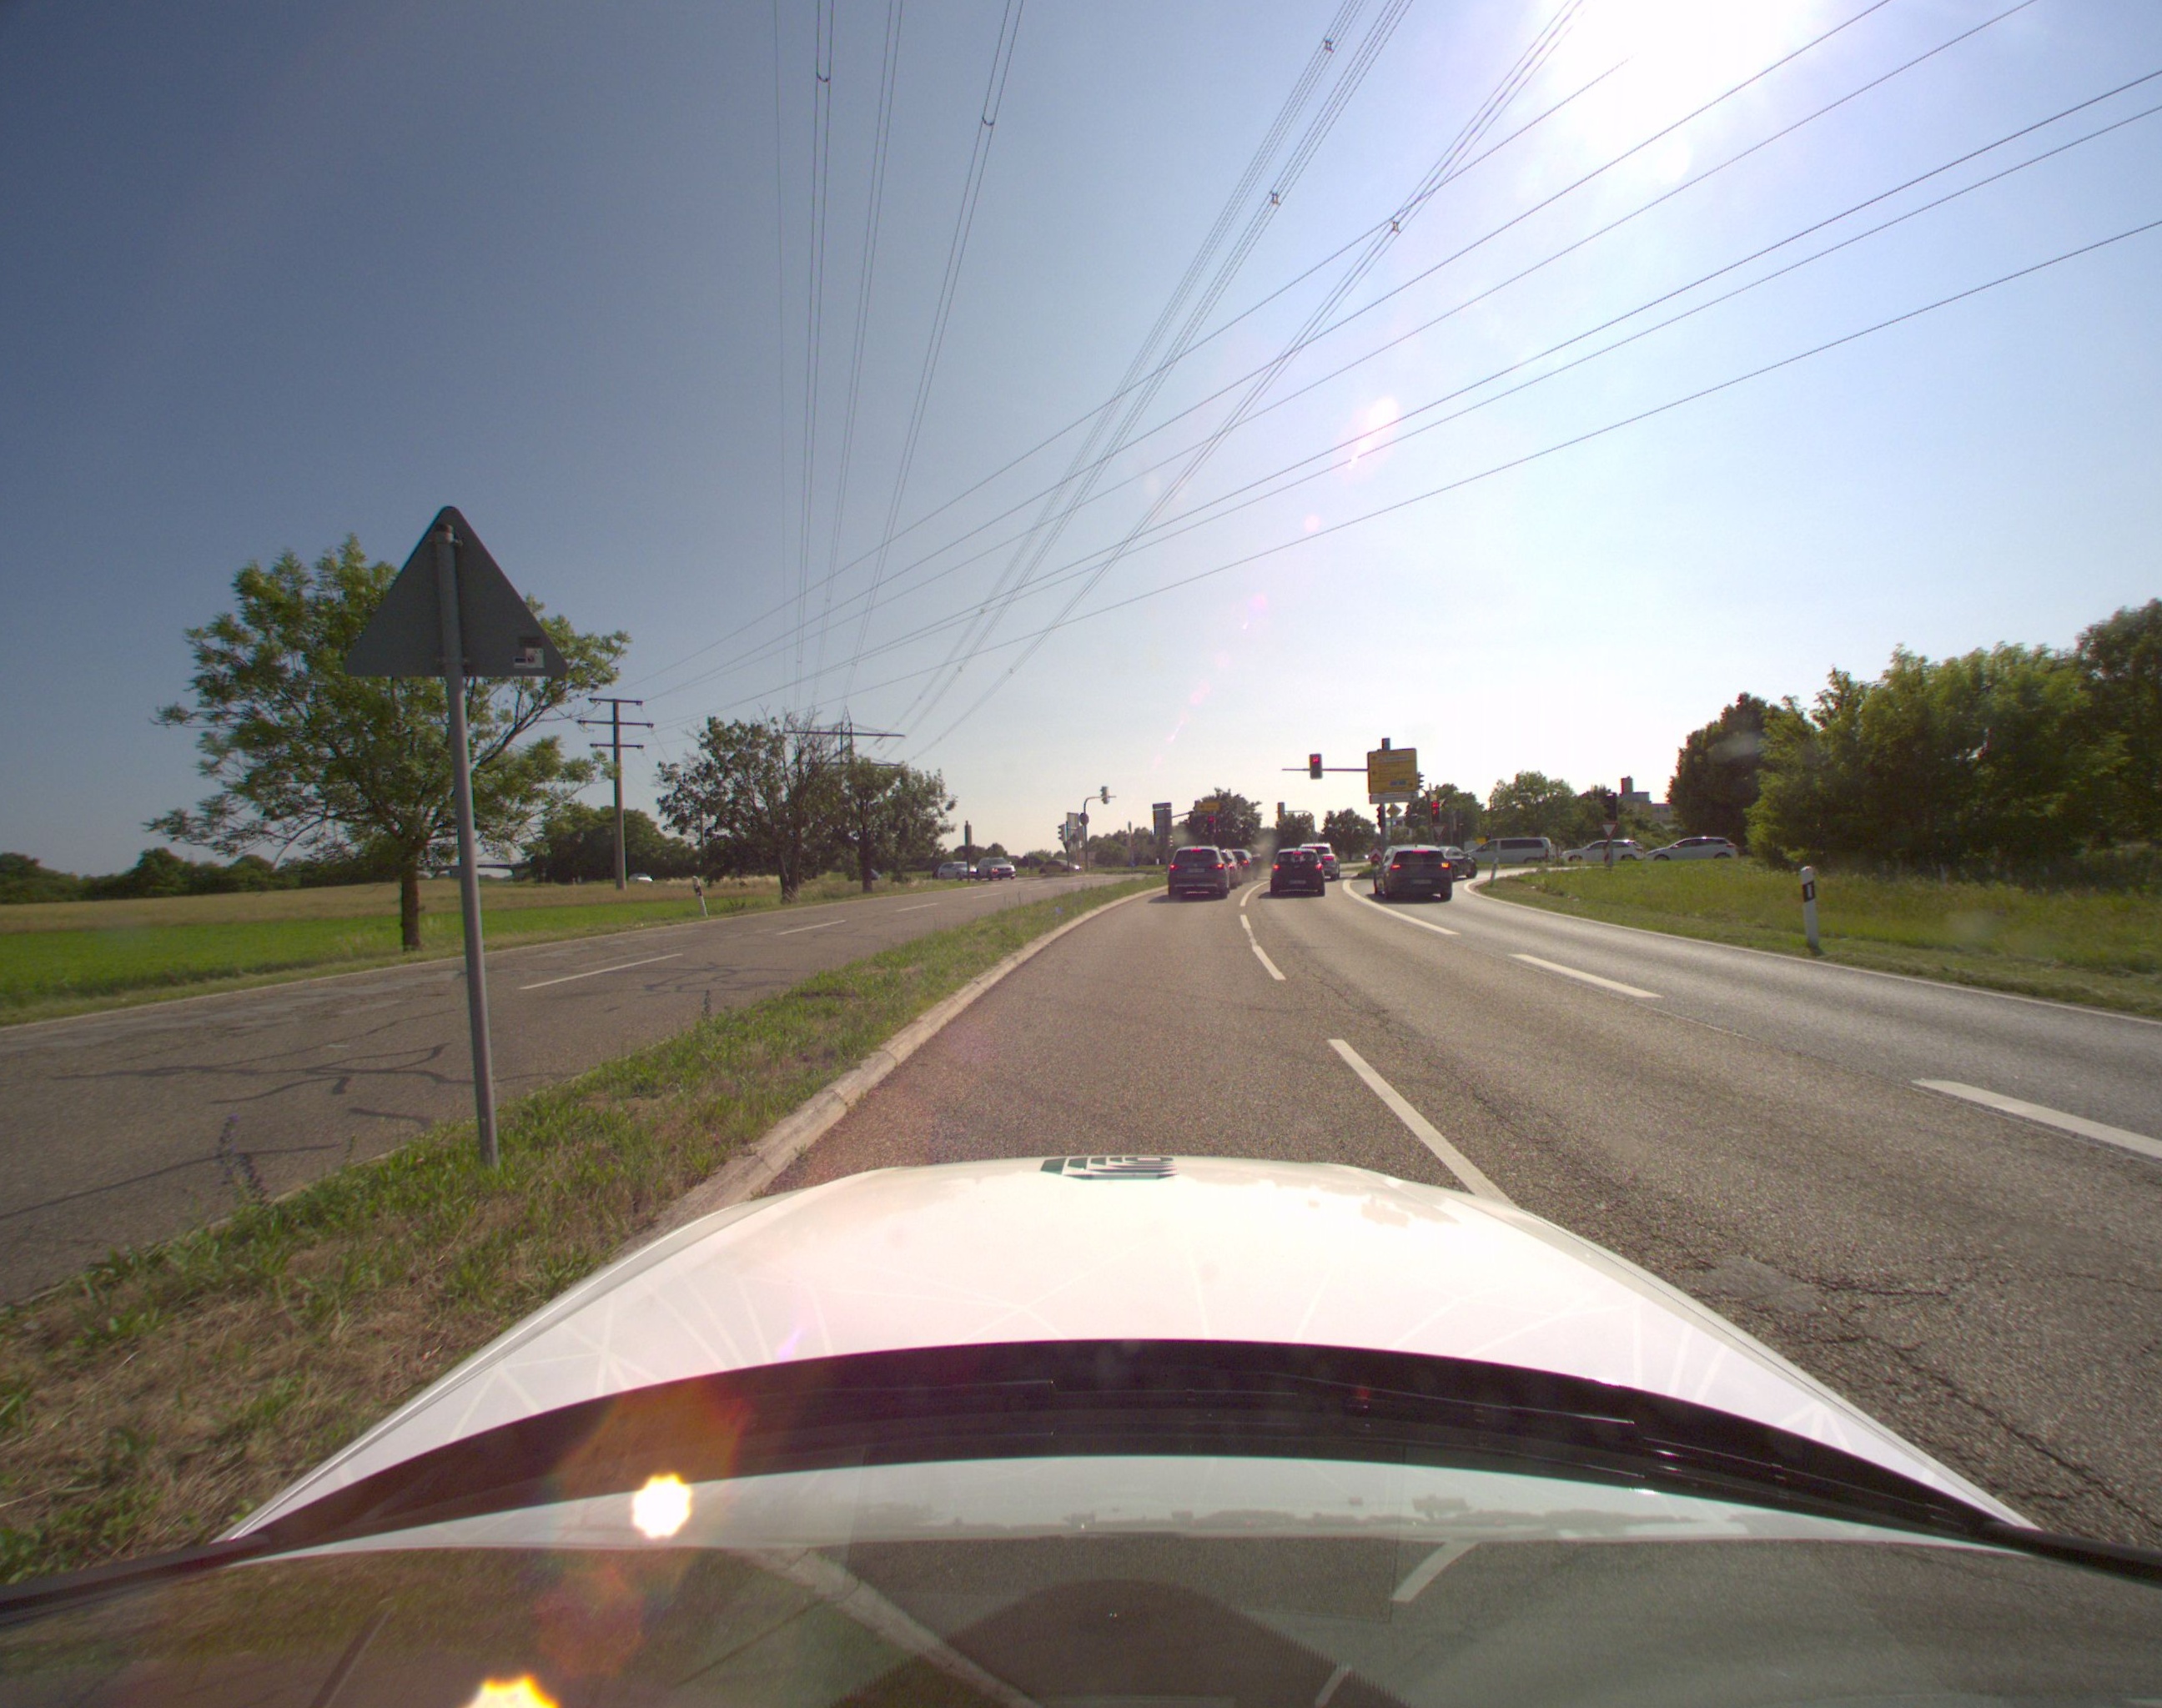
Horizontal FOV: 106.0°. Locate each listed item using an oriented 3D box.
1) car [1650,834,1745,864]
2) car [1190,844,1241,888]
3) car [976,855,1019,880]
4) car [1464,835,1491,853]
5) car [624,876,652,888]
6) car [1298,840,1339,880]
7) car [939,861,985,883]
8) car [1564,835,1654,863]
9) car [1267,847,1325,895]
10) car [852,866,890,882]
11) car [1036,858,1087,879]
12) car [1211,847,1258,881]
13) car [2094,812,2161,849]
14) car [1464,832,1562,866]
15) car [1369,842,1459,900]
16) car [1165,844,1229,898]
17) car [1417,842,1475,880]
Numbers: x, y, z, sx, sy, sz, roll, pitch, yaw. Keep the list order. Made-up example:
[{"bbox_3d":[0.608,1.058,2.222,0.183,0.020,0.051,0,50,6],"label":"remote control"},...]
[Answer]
[{"bbox_3d":[32.332,-0.252,42.743,3.862,1.465,1.734,-1,0,39],"label":"car"},{"bbox_3d":[5.177,0.450,31.038,1.730,1.569,3.636,0,0,12],"label":"car"},{"bbox_3d":[-5.929,0.932,57.400,1.823,1.651,3.967,-1,-1,-25],"label":"car"},{"bbox_3d":[50.441,-1.248,103.616,1.911,2.137,4.669,0,0,41],"label":"car"},{"bbox_3d":[-62.348,3.987,114.623,4.700,1.651,1.832,-2,-1,40],"label":"car"},{"bbox_3d":[10.693,0.254,36.563,1.619,1.677,3.767,-1,0,18],"label":"car"},{"bbox_3d":[-9.267,1.418,63.212,1.829,1.651,3.954,-1,-1,-38],"label":"car"},{"bbox_3d":[31.257,-0.273,48.237,4.279,1.519,1.819,-2,-1,37],"label":"car"},{"bbox_3d":[6.917,0.508,26.422,1.622,1.448,3.305,-1,0,11],"label":"car"},{"bbox_3d":[-22.143,2.116,85.730,3.948,1.651,1.832,-2,-1,39],"label":"car"},{"bbox_3d":[-1.634,1.203,67.733,3.948,1.651,1.832,-2,-1,39],"label":"car"},{"bbox_3d":[7.006,0.439,36.967,1.728,1.484,3.640,0,0,17],"label":"car"},{"bbox_3d":[47.349,-1.069,35.361,3.830,1.519,1.819,-2,-1,38],"label":"car"},{"bbox_3d":[25.672,-0.267,48.504,4.884,1.918,2.013,0,1,37],"label":"car"},{"bbox_3d":[9.659,0.436,23.898,1.761,1.517,4.114,-1,1,13],"label":"car"},{"bbox_3d":[3.722,0.501,25.608,1.730,1.569,3.636,-2,0,11],"label":"car"},{"bbox_3d":[14.974,0.273,33.329,1.625,1.385,4.026,-2,0,31],"label":"car"}]
